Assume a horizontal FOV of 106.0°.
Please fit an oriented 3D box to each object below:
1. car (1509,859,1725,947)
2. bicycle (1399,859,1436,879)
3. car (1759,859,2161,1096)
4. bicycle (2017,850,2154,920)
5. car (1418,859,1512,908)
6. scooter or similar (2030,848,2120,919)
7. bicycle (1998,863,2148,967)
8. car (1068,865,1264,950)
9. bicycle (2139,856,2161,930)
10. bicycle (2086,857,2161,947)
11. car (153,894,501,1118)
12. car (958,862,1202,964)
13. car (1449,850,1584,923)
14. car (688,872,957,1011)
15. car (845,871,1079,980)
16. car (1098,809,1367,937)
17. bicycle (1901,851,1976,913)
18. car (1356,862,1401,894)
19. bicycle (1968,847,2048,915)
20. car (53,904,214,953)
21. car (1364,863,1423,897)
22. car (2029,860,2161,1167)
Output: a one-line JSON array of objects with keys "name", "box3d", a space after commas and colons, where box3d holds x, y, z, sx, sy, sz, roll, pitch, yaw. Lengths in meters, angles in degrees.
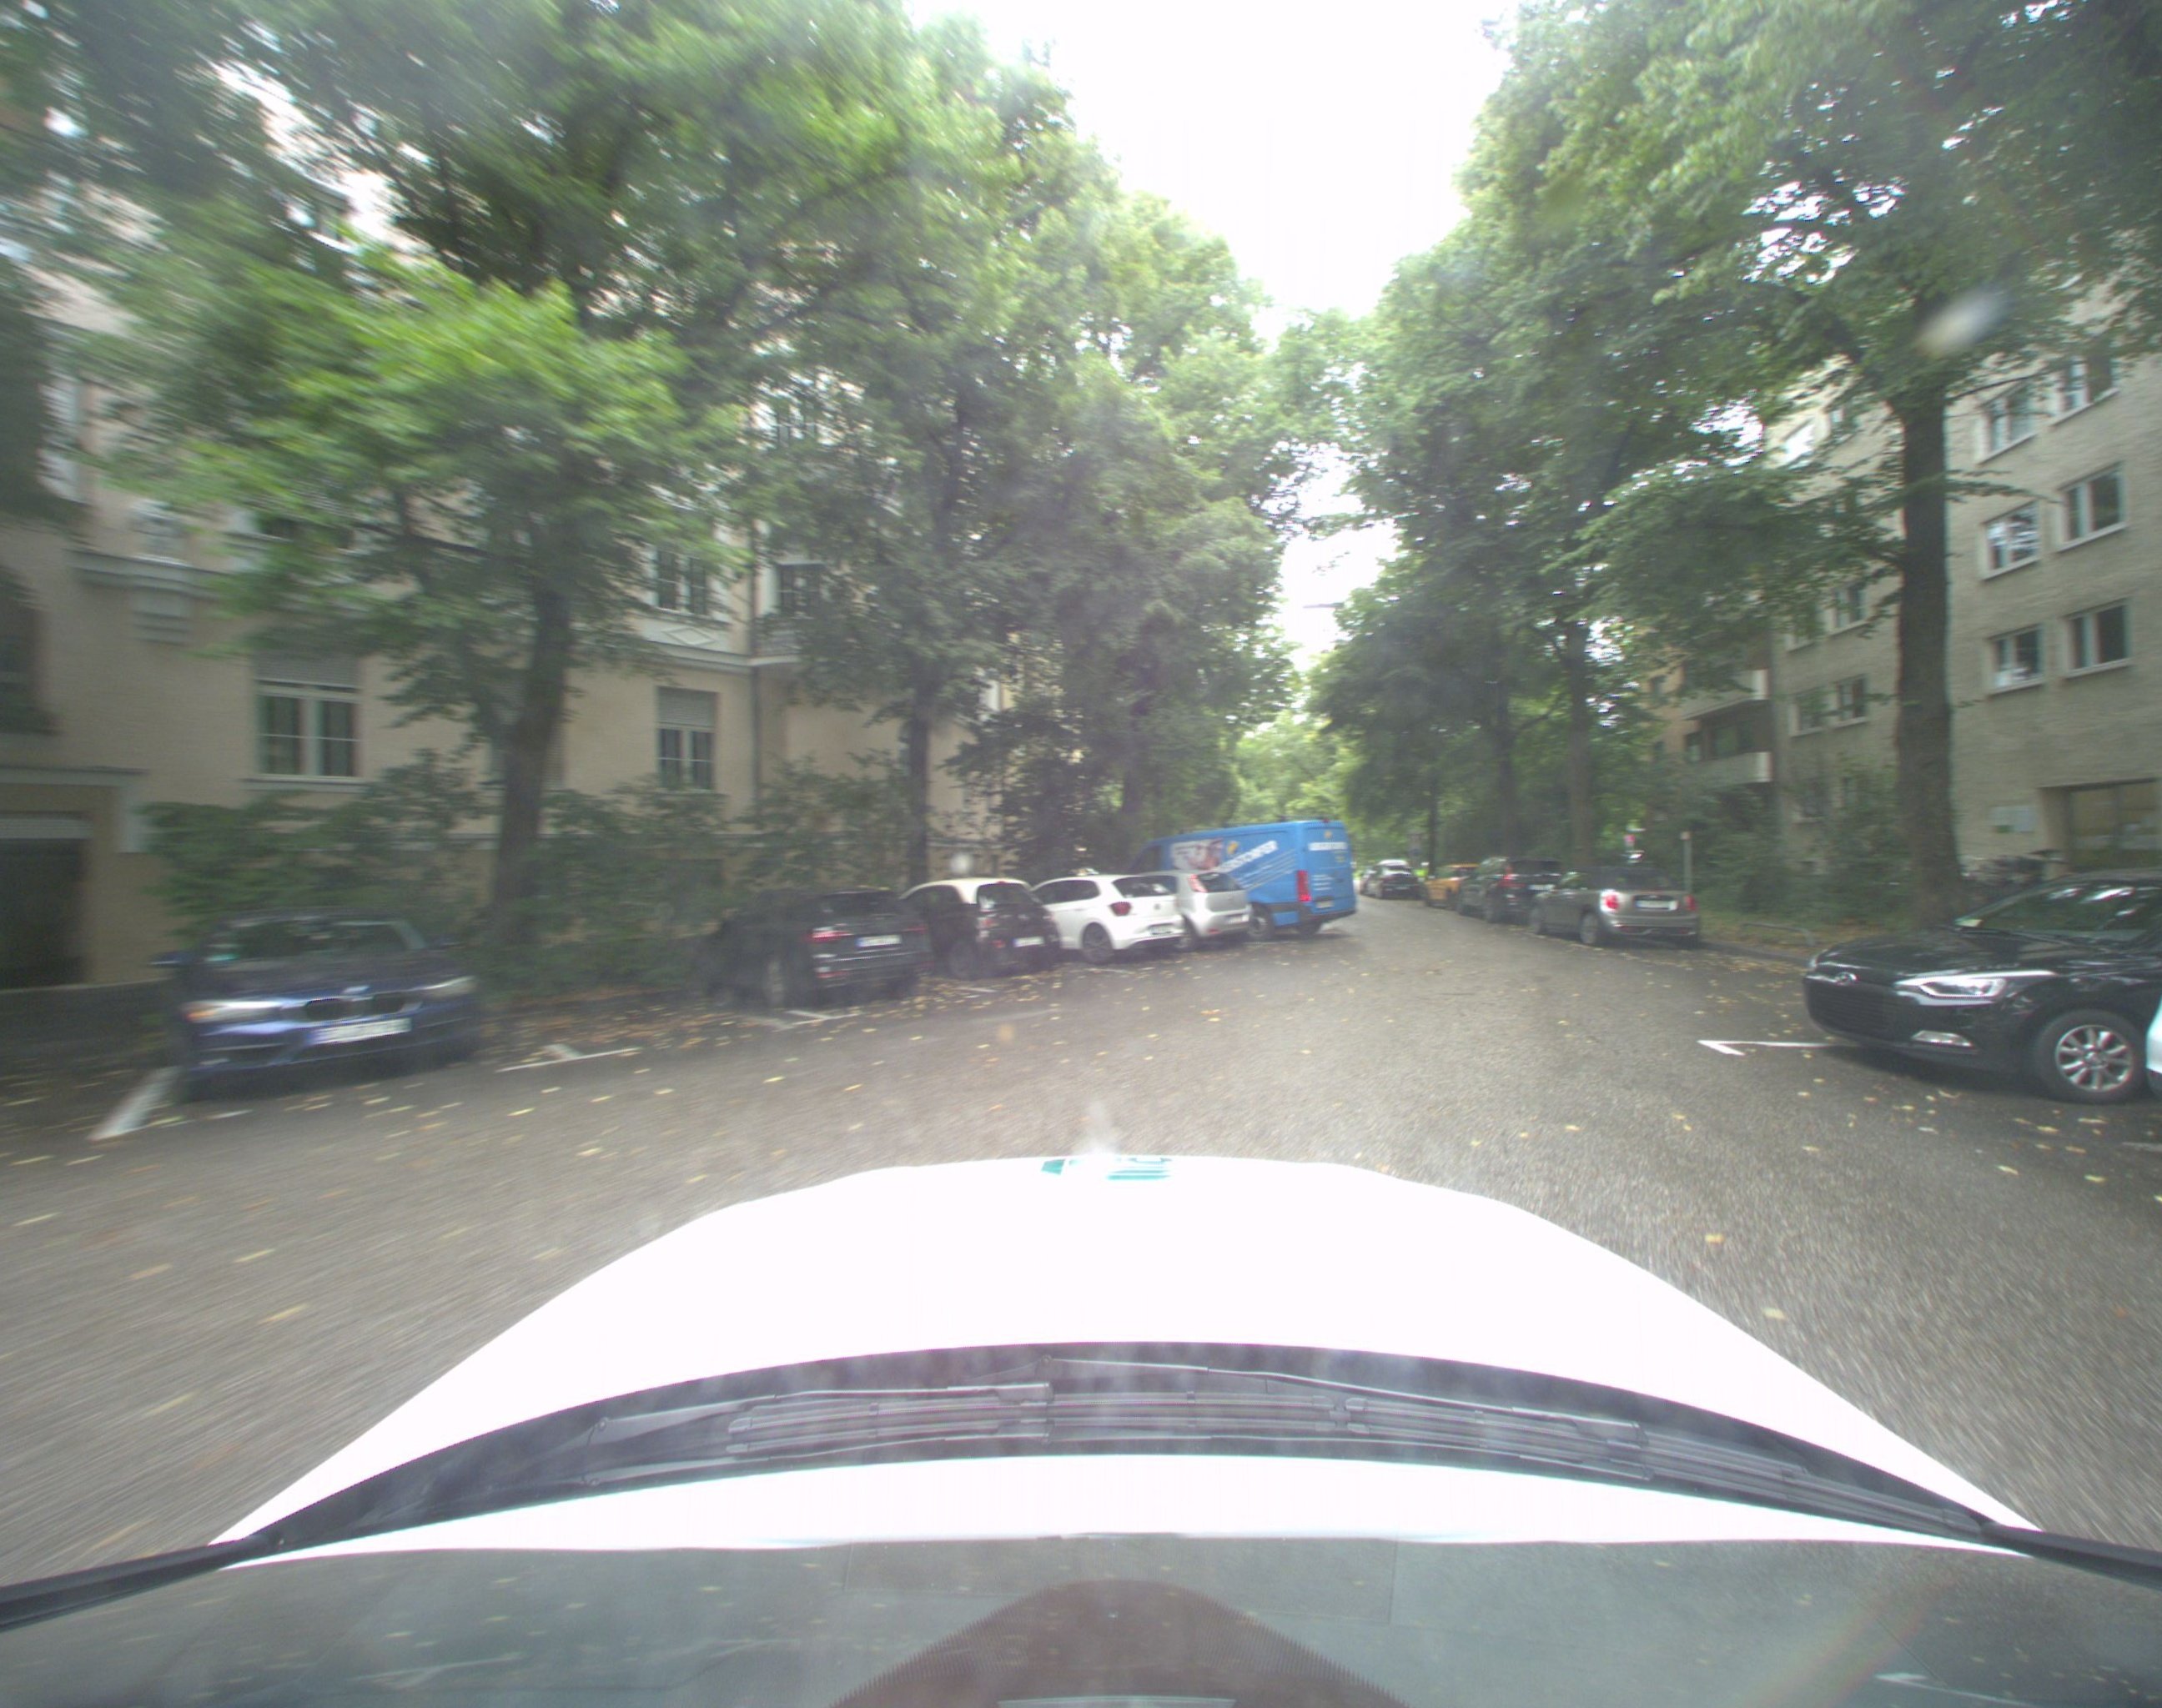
[{"name": "car", "box3d": [10.169, 0.865, 15.924, 1.887, 1.413, 4.442, -3, -1, 10]}, {"name": "bicycle", "box3d": [17.551, 0.804, 42.533, 1.737, 0.982, 0.274, -3, -1, 20]}, {"name": "car", "box3d": [7.555, 0.751, 5.622, 4.055, 1.394, 1.740, -2, -1, 12]}, {"name": "bicycle", "box3d": [17.137, 0.527, 13.906, 1.938, 1.124, 0.445, -1, -1, -5]}, {"name": "car", "box3d": [12.081, 0.892, 25.879, 1.609, 1.412, 3.788, -2, -1, 7]}, {"name": "scooter or similar", "box3d": [18.124, 0.525, 14.875, 0.381, 1.253, 1.140, -2, -1, 11]}, {"name": "bicycle", "box3d": [12.529, 0.730, 10.283, 1.874, 1.164, 0.760, -1, -1, -26]}, {"name": "car", "box3d": [1.570, 1.020, 15.863, 1.653, 1.433, 3.510, -1, -3, -43]}, {"name": "bicycle", "box3d": [16.706, 0.588, 11.799, 0.442, 1.124, 1.771, -1, -1, 1]}, {"name": "bicycle", "box3d": [14.525, 0.606, 10.748, 1.865, 1.124, 0.540, -1, -1, -1]}, {"name": "car", "box3d": [-7.095, 1.147, 7.503, 4.286, 1.383, 1.856, -4, -2, 41]}, {"name": "car", "box3d": [-0.159, 1.110, 14.553, 1.814, 1.513, 4.232, -1, -5, -45]}, {"name": "car", "box3d": [10.998, 0.768, 20.956, 1.819, 1.629, 4.540, -2, -1, 12]}, {"name": "car", "box3d": [-3.611, 1.100, 10.895, 1.874, 1.425, 4.112, -2, -3, -42]}, {"name": "car", "box3d": [-2.017, 1.160, 13.074, 1.844, 1.425, 3.703, -1, -5, -44]}, {"name": "car", "box3d": [3.056, 0.524, 17.610, 2.077, 2.354, 5.427, -1, -4, -43]}, {"name": "bicycle", "box3d": [16.597, 0.520, 15.757, 1.774, 1.124, 0.442, -1, -1, -25]}, {"name": "car", "box3d": [14.481, 1.148, 39.820, 1.636, 1.474, 3.656, -2, -1, 14]}, {"name": "bicycle", "box3d": [16.501, 0.460, 14.493, 1.774, 1.124, 0.442, -1, -1, -25]}, {"name": "car", "box3d": [-35.672, 2.754, 30.764, 1.635, 1.518, 3.881, -2, -1, 39]}, {"name": "car", "box3d": [13.598, 1.100, 35.642, 1.671, 1.358, 4.020, -1, -1, 10]}, {"name": "car", "box3d": [7.035, 0.698, 3.307, 3.914, 1.447, 1.830, -2, -1, 7]}]
